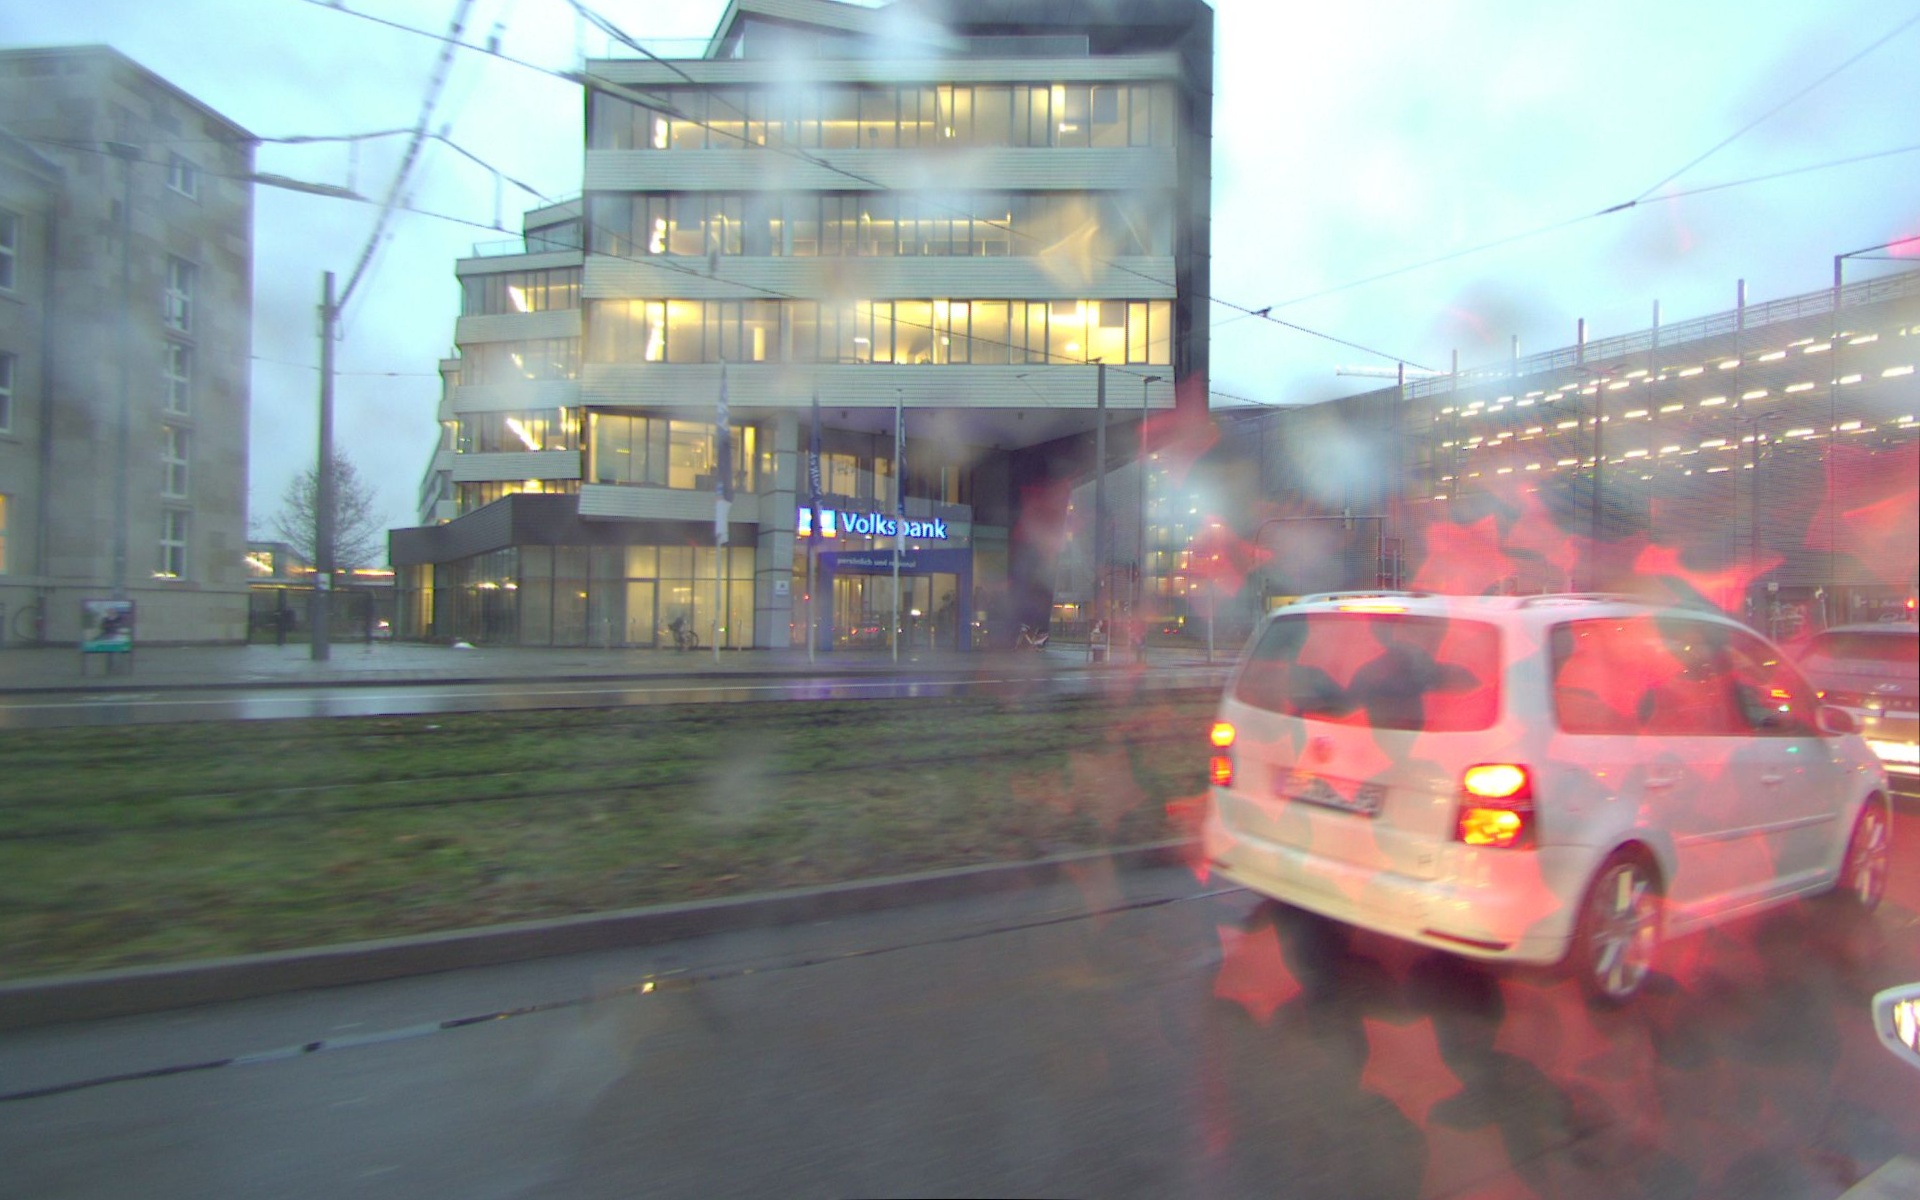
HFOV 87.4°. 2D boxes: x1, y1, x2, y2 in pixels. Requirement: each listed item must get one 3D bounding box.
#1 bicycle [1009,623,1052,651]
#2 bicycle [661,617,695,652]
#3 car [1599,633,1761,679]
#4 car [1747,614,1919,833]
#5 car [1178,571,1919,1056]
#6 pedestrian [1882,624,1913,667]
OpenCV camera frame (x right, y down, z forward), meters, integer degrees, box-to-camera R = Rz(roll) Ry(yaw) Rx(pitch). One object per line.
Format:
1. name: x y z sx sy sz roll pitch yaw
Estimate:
1. bicycle: 2.772 1.433 39.452 1.582 1.084 0.637 1 -1 -30
2. bicycle: -9.432 1.157 33.627 0.518 1.142 1.498 1 -1 7
3. car: 23.215 1.800 32.427 4.395 1.404 1.643 1 -1 -10
4. car: 8.661 0.951 8.687 4.319 1.591 1.808 2 -2 -36
5. car: 3.257 0.753 5.156 4.175 1.620 1.662 2 0 -31
6. pedestrian: 55.746 2.712 59.726 0.955 2.471 1.105 2 0 -30
